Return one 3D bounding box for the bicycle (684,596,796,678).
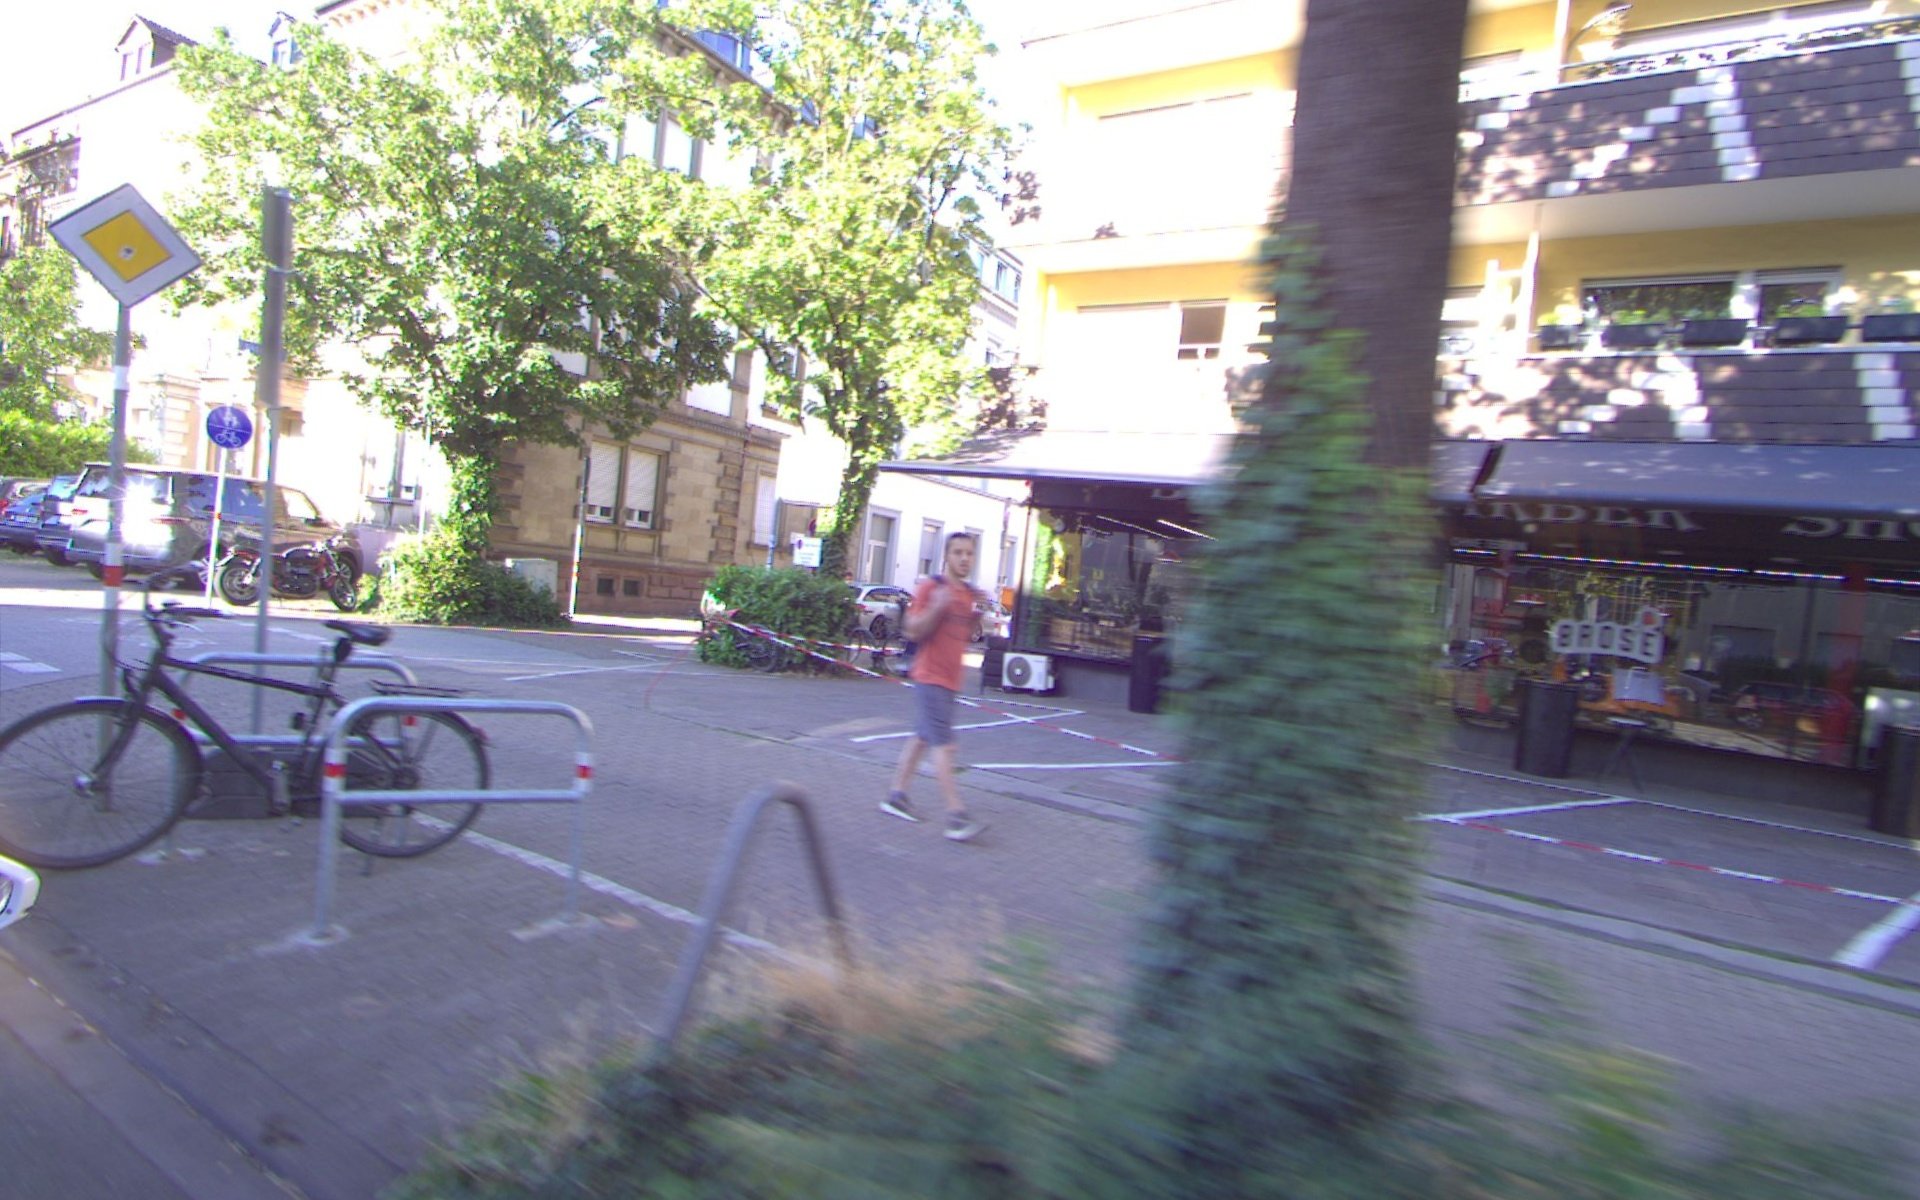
[{"bbox_3d":[-3.104,0.511,14.159,1.554,0.961,0.343,7,-1,26],"label":"bicycle"}]

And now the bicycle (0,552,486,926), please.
[{"bbox_3d":[-2.962,0.493,4.141,0.627,1.243,1.664,8,4,44],"label":"bicycle"}]

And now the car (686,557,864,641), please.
[{"bbox_3d":[-4.312,0.021,23.933,1.897,1.605,3.920,8,1,32],"label":"car"}]

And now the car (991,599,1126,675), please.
[{"bbox_3d":[2.317,0.864,22.993,1.633,1.436,3.348,8,1,32],"label":"car"}]

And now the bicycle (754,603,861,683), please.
[{"bbox_3d":[-2.215,0.605,14.519,1.554,0.963,0.342,7,4,26],"label":"bicycle"}]

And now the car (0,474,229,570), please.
[{"bbox_3d":[-17.598,-1.557,20.938,1.483,1.545,3.812,7,1,10],"label":"car"}]

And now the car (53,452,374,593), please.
[{"bbox_3d":[-12.725,-1.202,17.608,1.878,1.917,4.547,7,1,4],"label":"car"}]

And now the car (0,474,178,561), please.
[{"bbox_3d":[-19.467,-1.796,21.857,1.483,1.545,3.812,7,1,10],"label":"car"}]

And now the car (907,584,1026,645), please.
[{"bbox_3d":[0.276,0.503,32.237,1.897,1.605,3.920,8,1,32],"label":"car"}]

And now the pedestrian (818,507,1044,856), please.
[{"bbox_3d":[-0.159,0.440,5.917,0.890,1.820,0.757,7,2,27],"label":"pedestrian"}]

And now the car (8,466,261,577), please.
[{"bbox_3d":[-15.597,-1.398,19.284,1.483,1.700,3.811,7,1,2],"label":"car"}]

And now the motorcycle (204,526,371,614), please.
[{"bbox_3d":[-10.122,-0.422,15.245,0.516,1.139,2.055,7,1,26],"label":"motorcycle"}]

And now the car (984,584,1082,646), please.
[{"bbox_3d":[2.681,0.564,36.337,1.897,1.882,3.649,8,1,32],"label":"car"}]

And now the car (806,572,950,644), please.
[{"bbox_3d":[-2.189,0.257,27.838,1.897,1.605,3.920,8,1,32],"label":"car"}]
